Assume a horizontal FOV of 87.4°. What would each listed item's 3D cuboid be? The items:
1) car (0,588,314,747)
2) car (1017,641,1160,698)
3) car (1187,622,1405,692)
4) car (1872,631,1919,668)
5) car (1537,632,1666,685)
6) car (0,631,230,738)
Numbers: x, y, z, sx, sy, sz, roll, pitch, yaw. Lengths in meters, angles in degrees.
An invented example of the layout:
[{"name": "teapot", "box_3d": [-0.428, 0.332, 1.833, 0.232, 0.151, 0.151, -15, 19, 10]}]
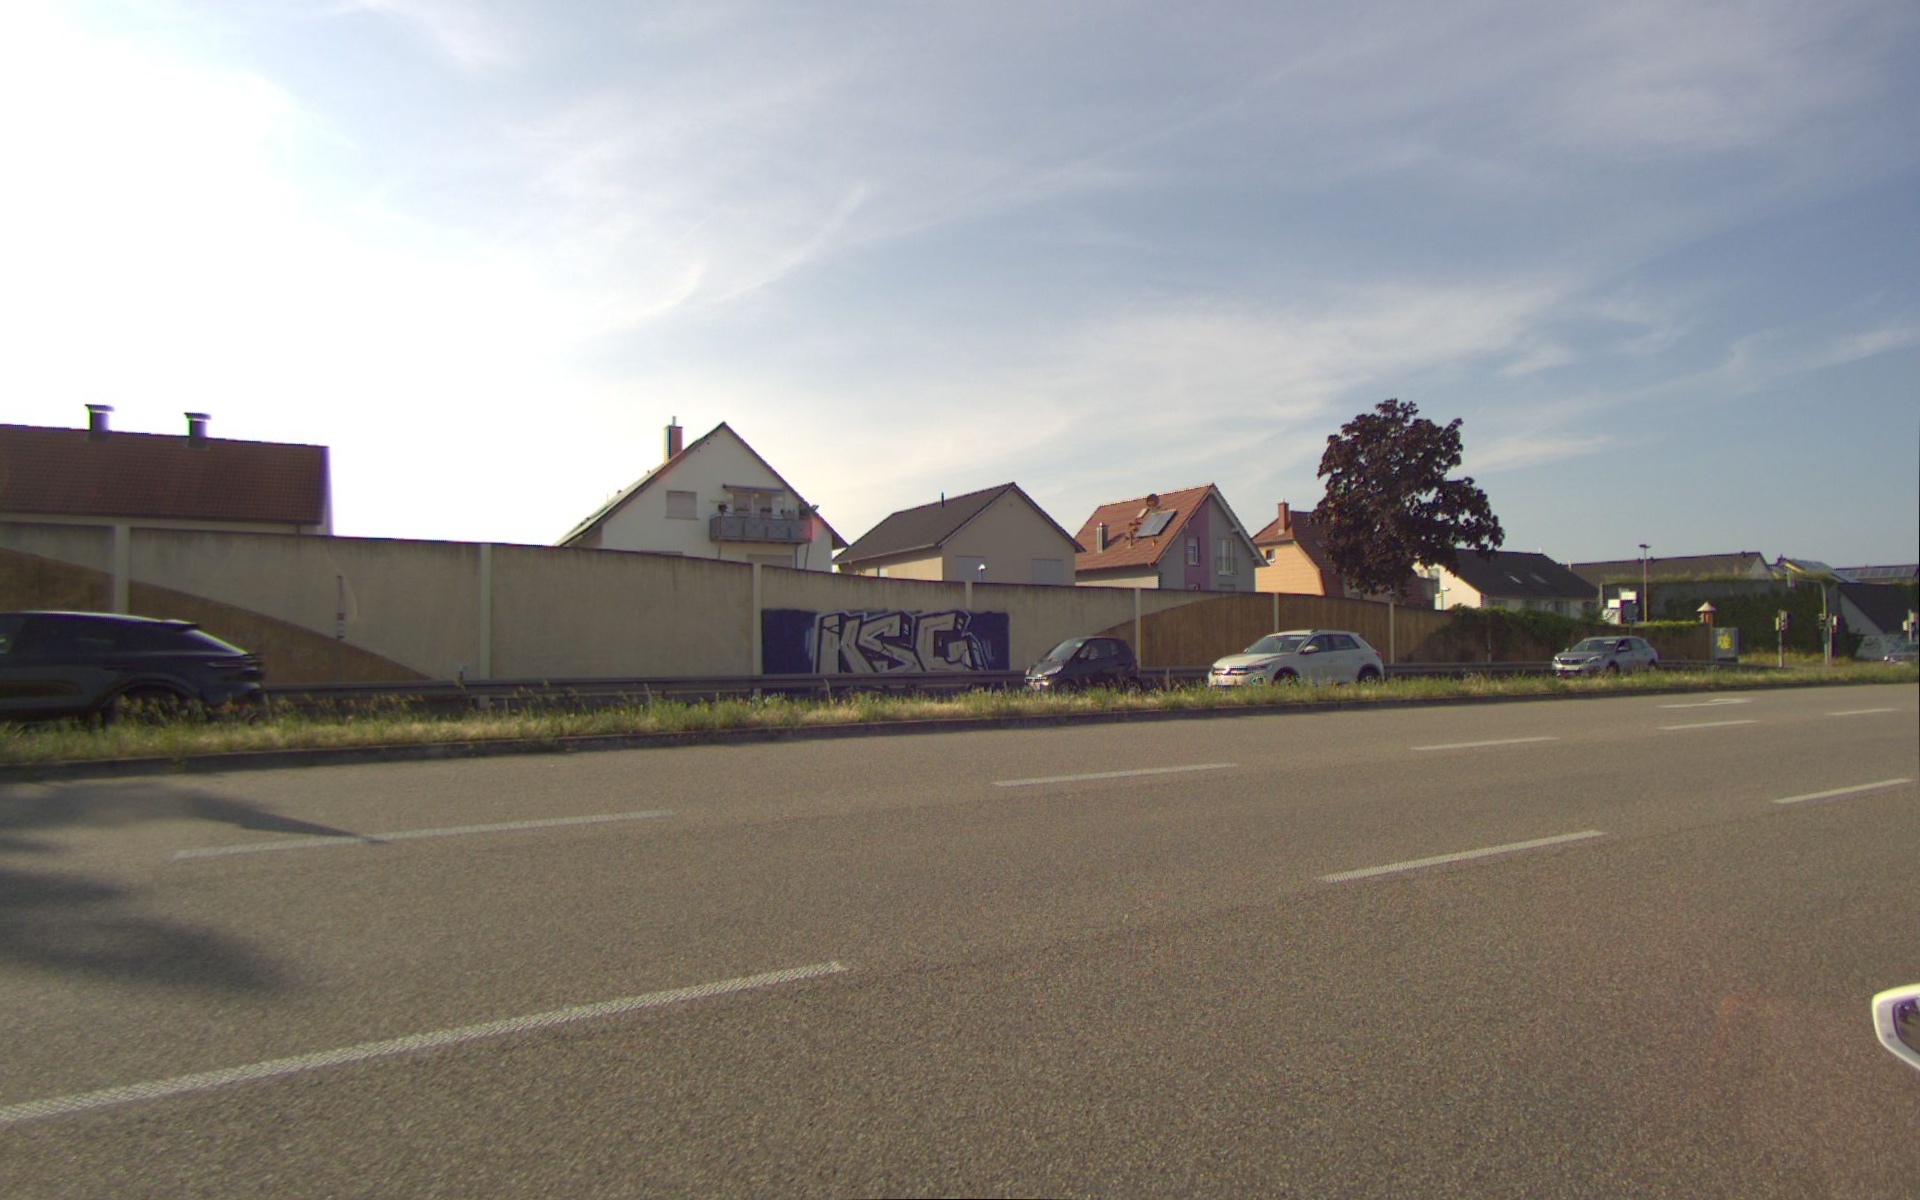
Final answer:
[{"name": "car", "box_3d": [-10.215, 0.705, 11.286, 4.865, 1.647, 1.722, 1, 0, -31]}, {"name": "car", "box_3d": [2.988, 1.574, 23.337, 3.025, 1.179, 1.467, 1, 0, -29]}, {"name": "car", "box_3d": [7.247, 1.160, 21.547, 4.658, 1.339, 1.864, 1, 0, -31]}, {"name": "car", "box_3d": [46.713, 2.387, 49.126, 4.601, 1.650, 1.715, 1, 0, -29]}, {"name": "car", "box_3d": [22.188, 1.966, 34.724, 4.537, 1.687, 1.967, 1, 0, -31]}, {"name": "car", "box_3d": [-12.933, 1.117, 13.731, 4.549, 1.340, 1.772, 1, 0, -29]}]
